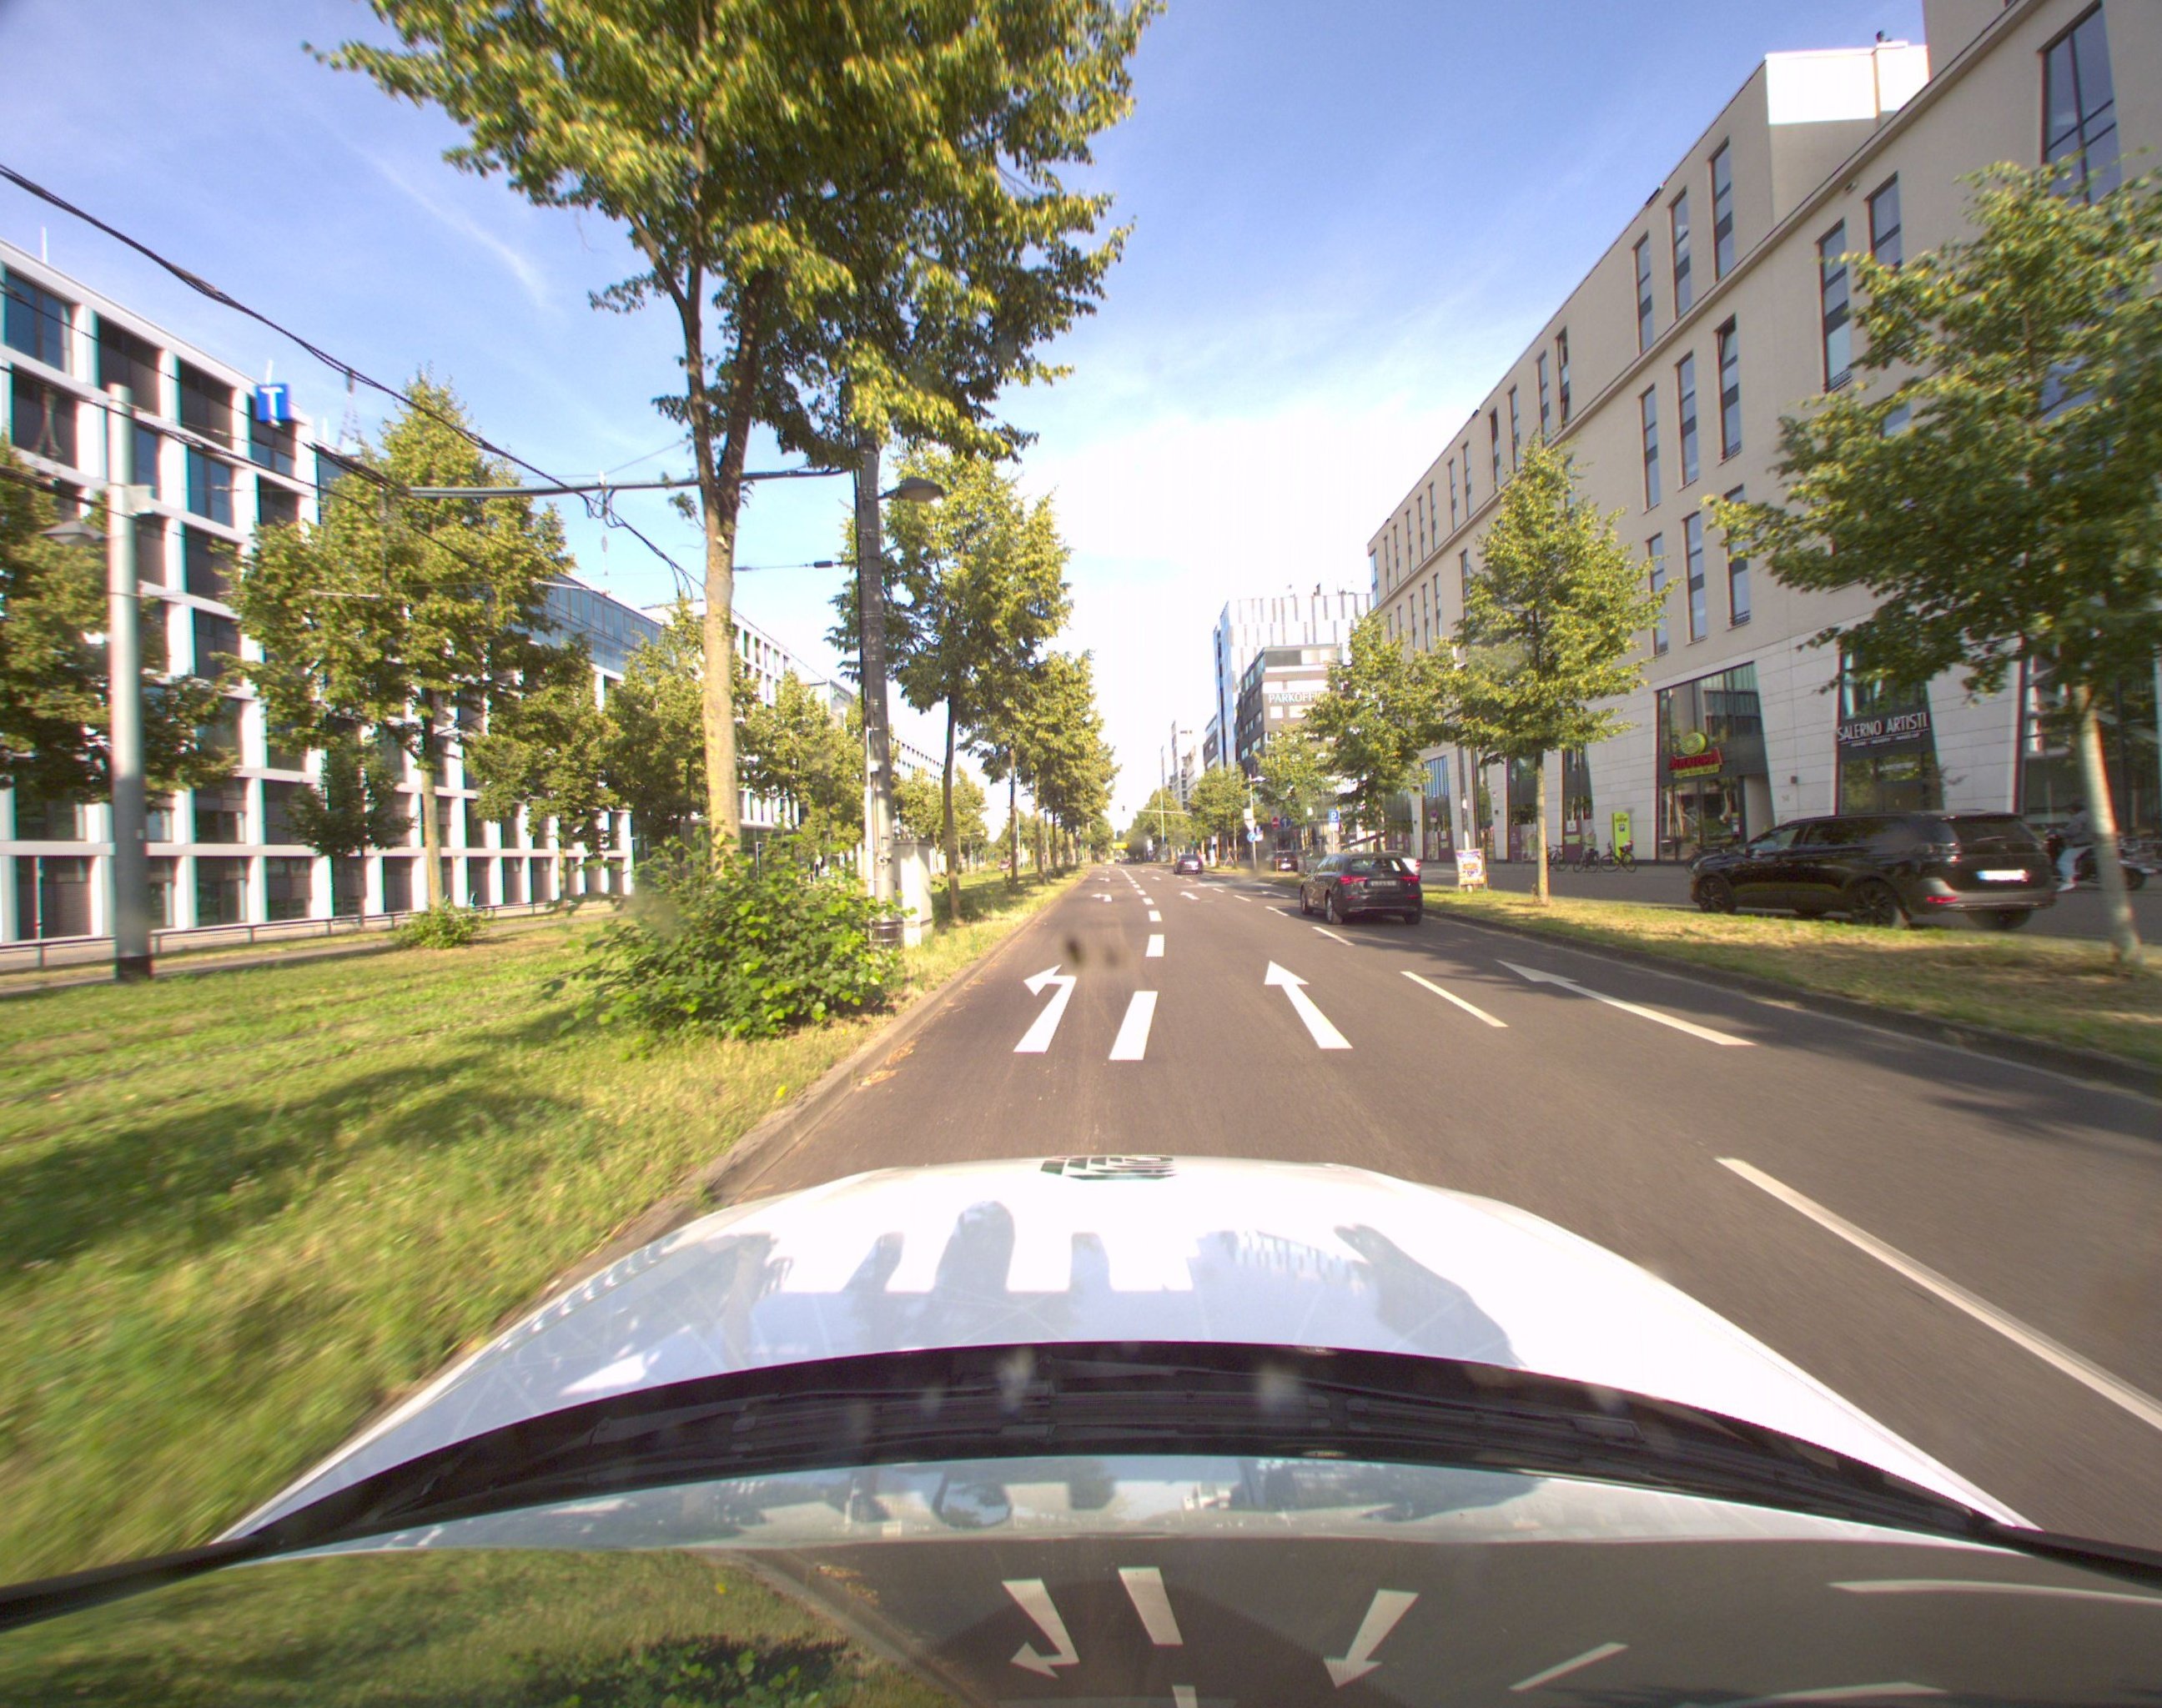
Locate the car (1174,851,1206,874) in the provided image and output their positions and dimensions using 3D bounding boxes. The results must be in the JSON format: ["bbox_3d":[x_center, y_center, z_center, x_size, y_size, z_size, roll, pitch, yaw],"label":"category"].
[{"bbox_3d":[7.605,0.614,56.868,1.852,1.524,3.787,-1,-1,2],"label":"car"}]

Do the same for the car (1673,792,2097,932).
[{"bbox_3d":[11.690,0.082,12.450,1.890,1.708,4.678,-1,0,0],"label":"car"}]

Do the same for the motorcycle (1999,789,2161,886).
[{"bbox_3d":[18.407,-0.271,14.942,0.699,1.617,2.011,-6,-1,0],"label":"motorcycle"}]

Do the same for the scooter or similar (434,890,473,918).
[{"bbox_3d":[-34.463,2.745,44.756,1.919,1.477,0.415,-1,-1,5],"label":"scooter or similar"}]

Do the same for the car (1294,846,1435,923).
[{"bbox_3d":[5.886,0.602,17.398,1.767,1.424,3.963,-1,-1,2],"label":"car"}]

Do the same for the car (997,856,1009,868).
[{"bbox_3d":[-12.367,1.288,129.333,1.679,1.775,3.880,-1,-1,-2],"label":"car"}]

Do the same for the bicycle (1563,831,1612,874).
[{"bbox_3d":[19.365,-0.046,31.217,0.553,1.567,2.214,-1,-1,3],"label":"bicycle"}]

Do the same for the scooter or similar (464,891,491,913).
[{"bbox_3d":[-34.654,2.748,46.783,0.333,1.226,1.304,-1,-1,15],"label":"scooter or similar"}]

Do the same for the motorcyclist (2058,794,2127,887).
[{"bbox_3d":[18.454,-0.247,14.862,0.622,1.640,0.417,-4,-1,-2],"label":"motorcyclist"}]

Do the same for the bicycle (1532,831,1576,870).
[{"bbox_3d":[19.654,-0.109,33.885,0.553,1.571,2.277,-1,-1,3],"label":"bicycle"}]

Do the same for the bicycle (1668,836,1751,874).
[{"bbox_3d":[19.146,0.043,24.850,0.636,1.084,1.890,-2,-1,-21],"label":"bicycle"}]

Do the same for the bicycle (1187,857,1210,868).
[{"bbox_3d":[11.669,0.823,80.818,2.128,1.013,0.571,-1,-1,-2],"label":"bicycle"}]

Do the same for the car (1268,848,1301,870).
[{"bbox_3d":[13.470,0.324,54.160,1.598,1.370,4.165,-1,-1,7],"label":"car"}]

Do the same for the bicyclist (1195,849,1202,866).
[{"bbox_3d":[11.687,0.347,80.835,0.573,1.707,0.540,-1,-1,-2],"label":"bicyclist"}]

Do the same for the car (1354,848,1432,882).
[{"bbox_3d":[12.522,0.449,32.915,1.702,1.242,3.906,-1,-1,1],"label":"car"}]
